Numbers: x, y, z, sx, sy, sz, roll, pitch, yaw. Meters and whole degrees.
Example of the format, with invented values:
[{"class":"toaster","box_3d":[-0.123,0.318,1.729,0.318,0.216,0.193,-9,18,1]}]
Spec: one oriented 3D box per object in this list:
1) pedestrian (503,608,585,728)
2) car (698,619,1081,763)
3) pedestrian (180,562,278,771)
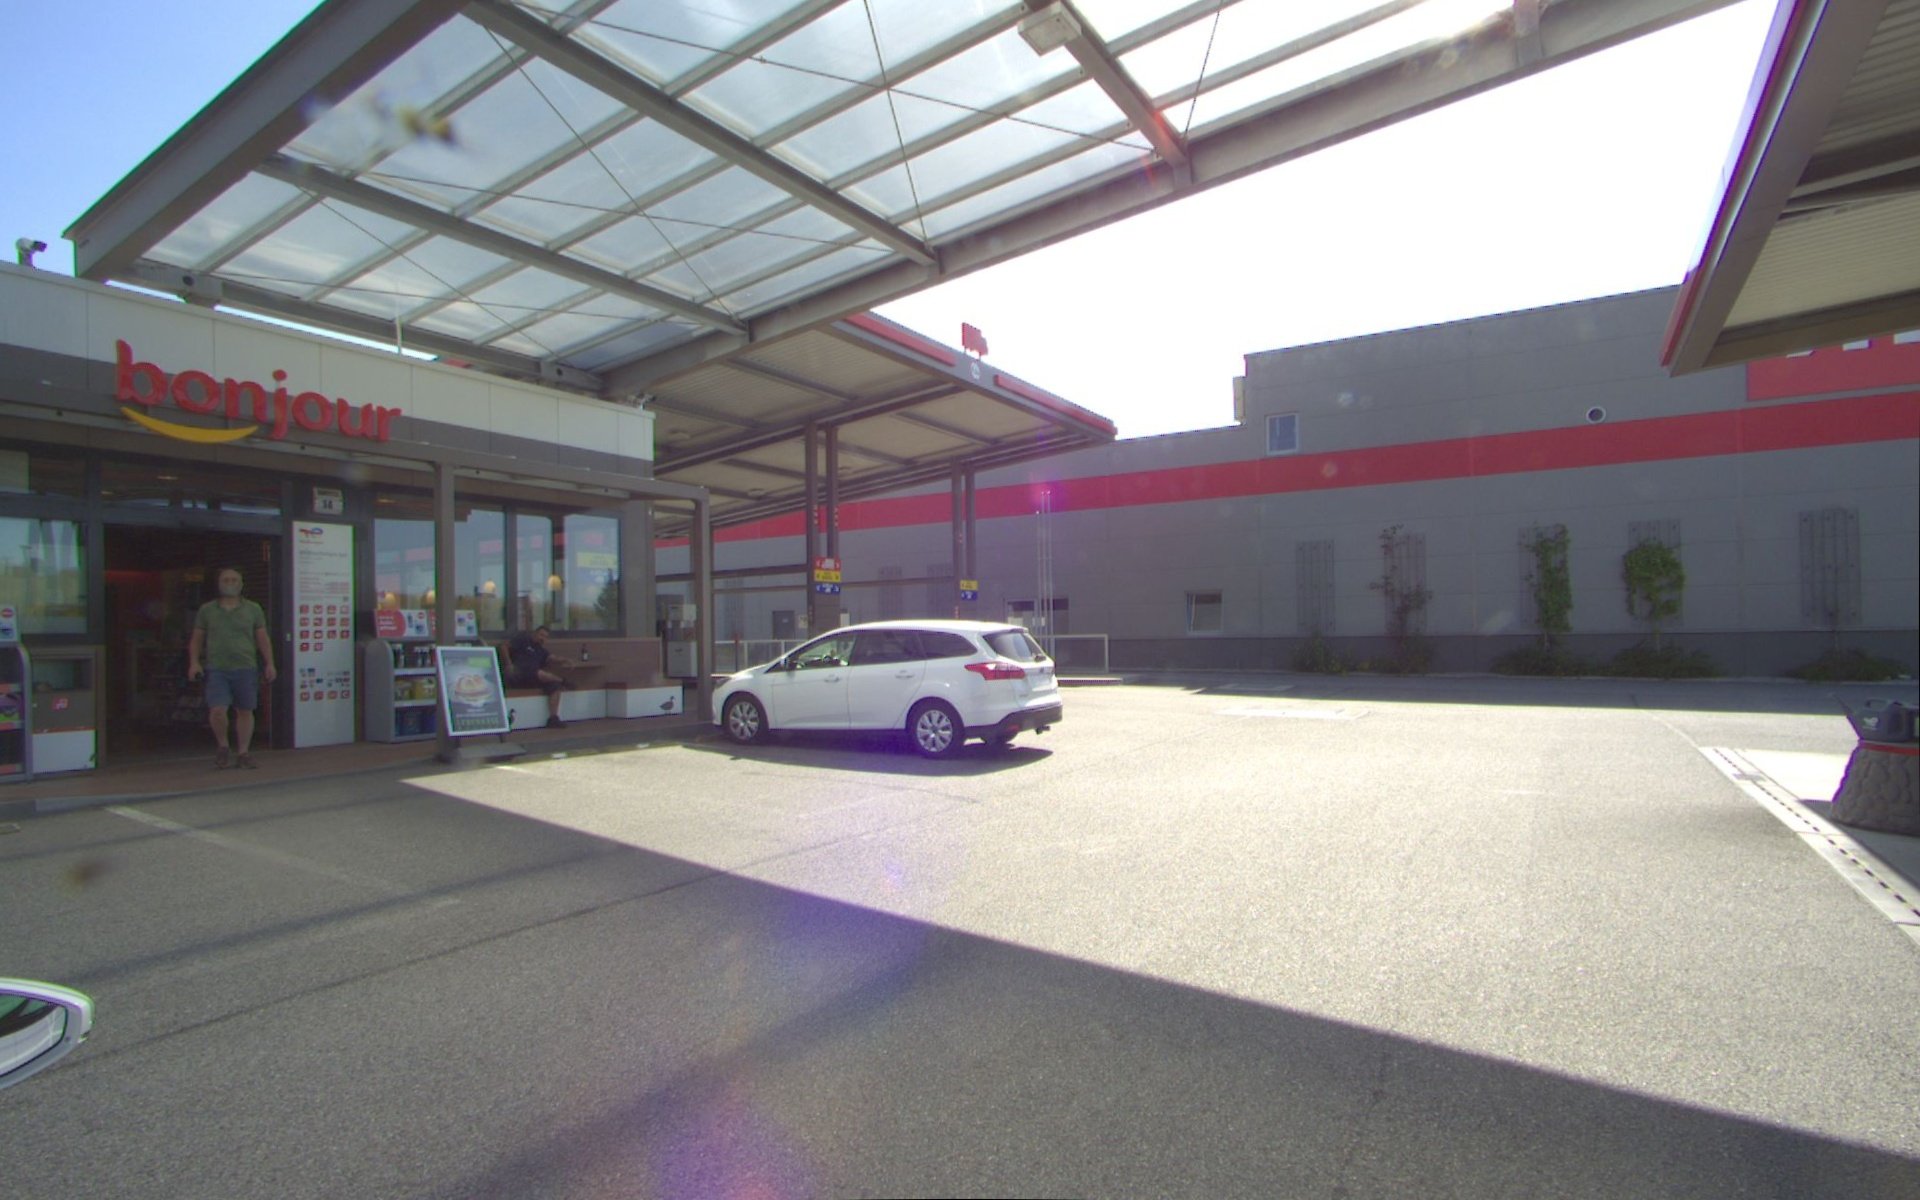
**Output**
[{"class":"pedestrian","box_3d":[-5.231,0.837,12.596,0.663,1.450,0.700,0,-1,31]},{"class":"car","box_3d":[-0.865,0.975,11.984,4.251,1.475,1.830,-1,-1,26]},{"class":"pedestrian","box_3d":[-6.748,0.594,9.275,0.694,1.821,0.857,0,-1,-34]}]
